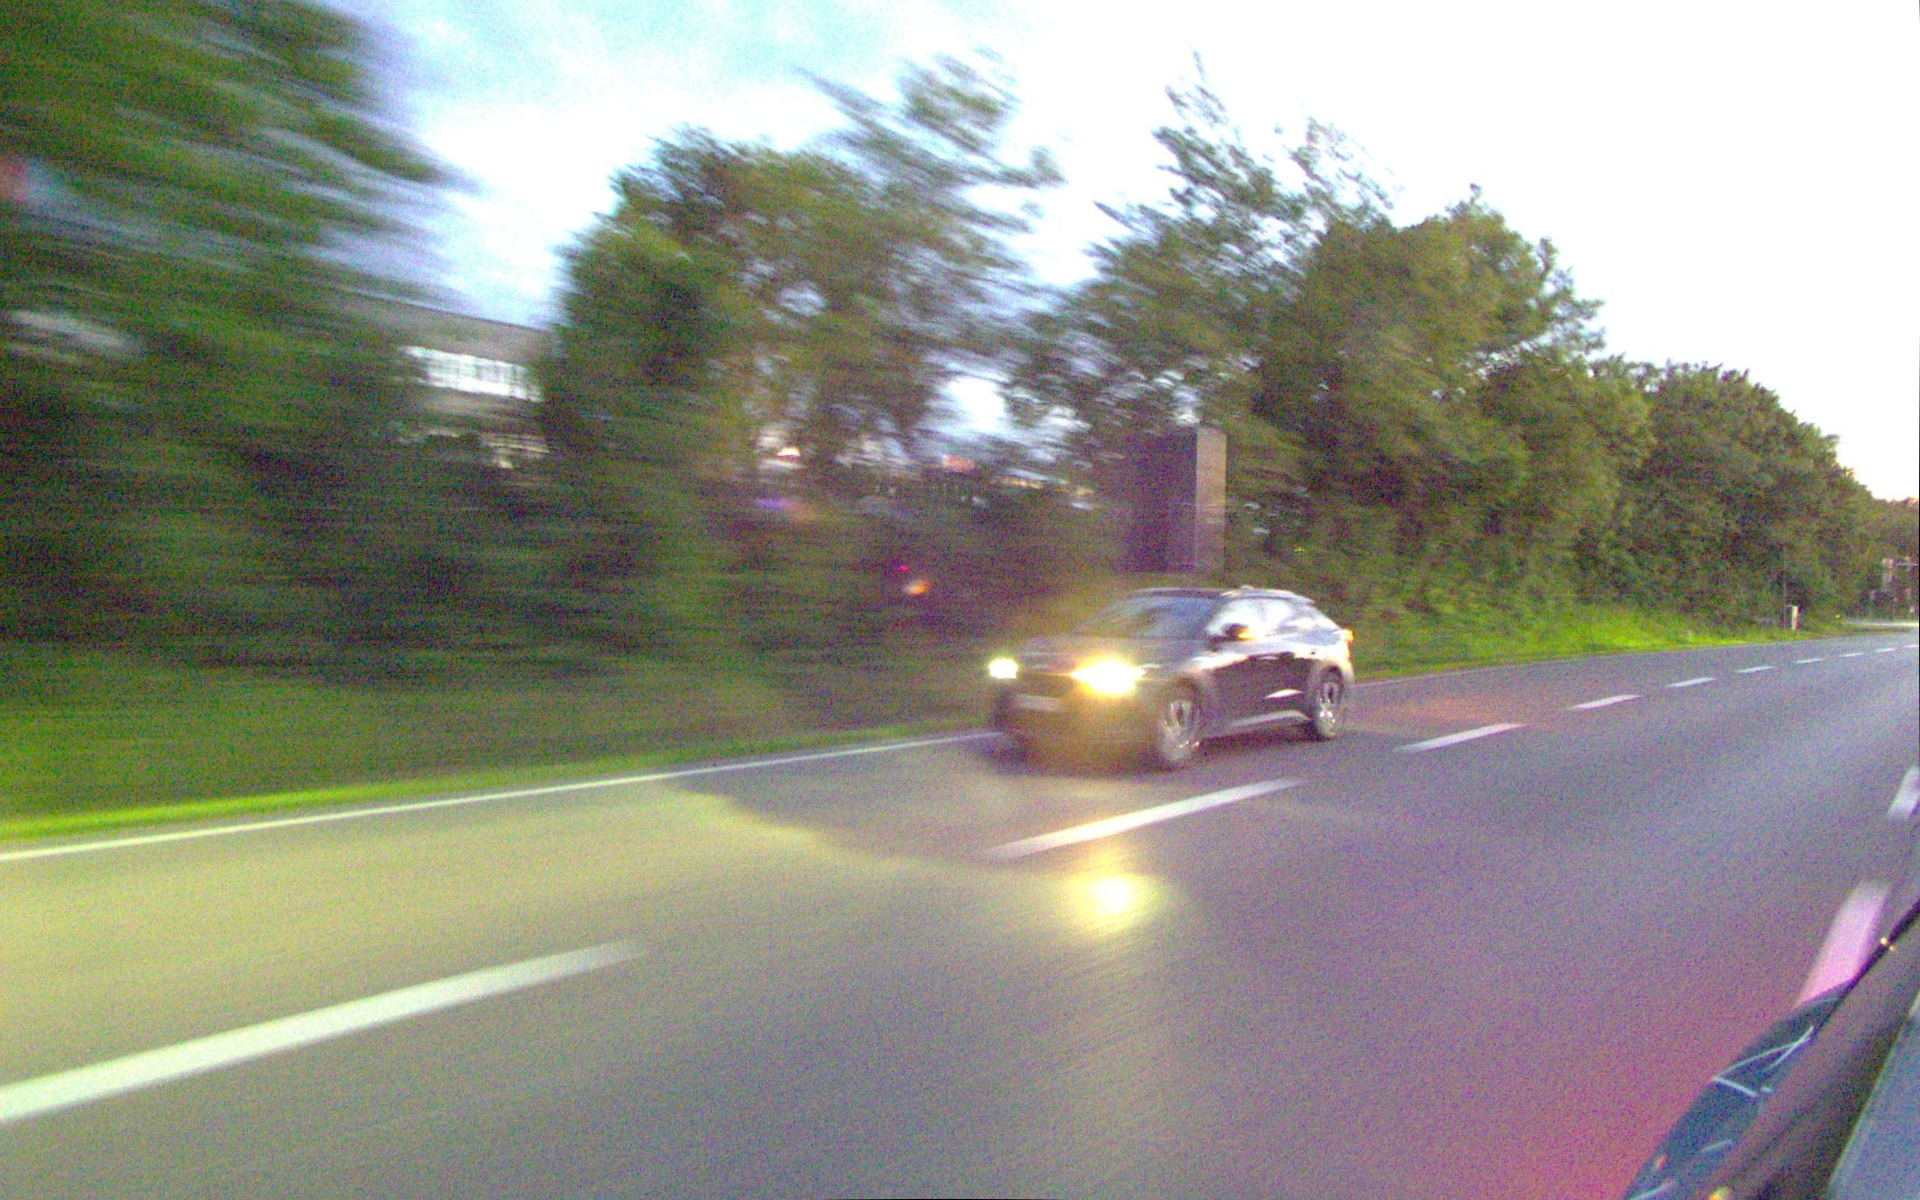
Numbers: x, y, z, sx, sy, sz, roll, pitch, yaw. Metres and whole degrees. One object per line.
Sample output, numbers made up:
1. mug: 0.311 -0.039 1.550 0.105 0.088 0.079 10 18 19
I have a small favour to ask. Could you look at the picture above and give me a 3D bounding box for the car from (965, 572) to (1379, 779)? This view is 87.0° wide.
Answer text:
1. car: 2.328 0.590 10.307 4.479 1.640 1.903 0 1 -43
